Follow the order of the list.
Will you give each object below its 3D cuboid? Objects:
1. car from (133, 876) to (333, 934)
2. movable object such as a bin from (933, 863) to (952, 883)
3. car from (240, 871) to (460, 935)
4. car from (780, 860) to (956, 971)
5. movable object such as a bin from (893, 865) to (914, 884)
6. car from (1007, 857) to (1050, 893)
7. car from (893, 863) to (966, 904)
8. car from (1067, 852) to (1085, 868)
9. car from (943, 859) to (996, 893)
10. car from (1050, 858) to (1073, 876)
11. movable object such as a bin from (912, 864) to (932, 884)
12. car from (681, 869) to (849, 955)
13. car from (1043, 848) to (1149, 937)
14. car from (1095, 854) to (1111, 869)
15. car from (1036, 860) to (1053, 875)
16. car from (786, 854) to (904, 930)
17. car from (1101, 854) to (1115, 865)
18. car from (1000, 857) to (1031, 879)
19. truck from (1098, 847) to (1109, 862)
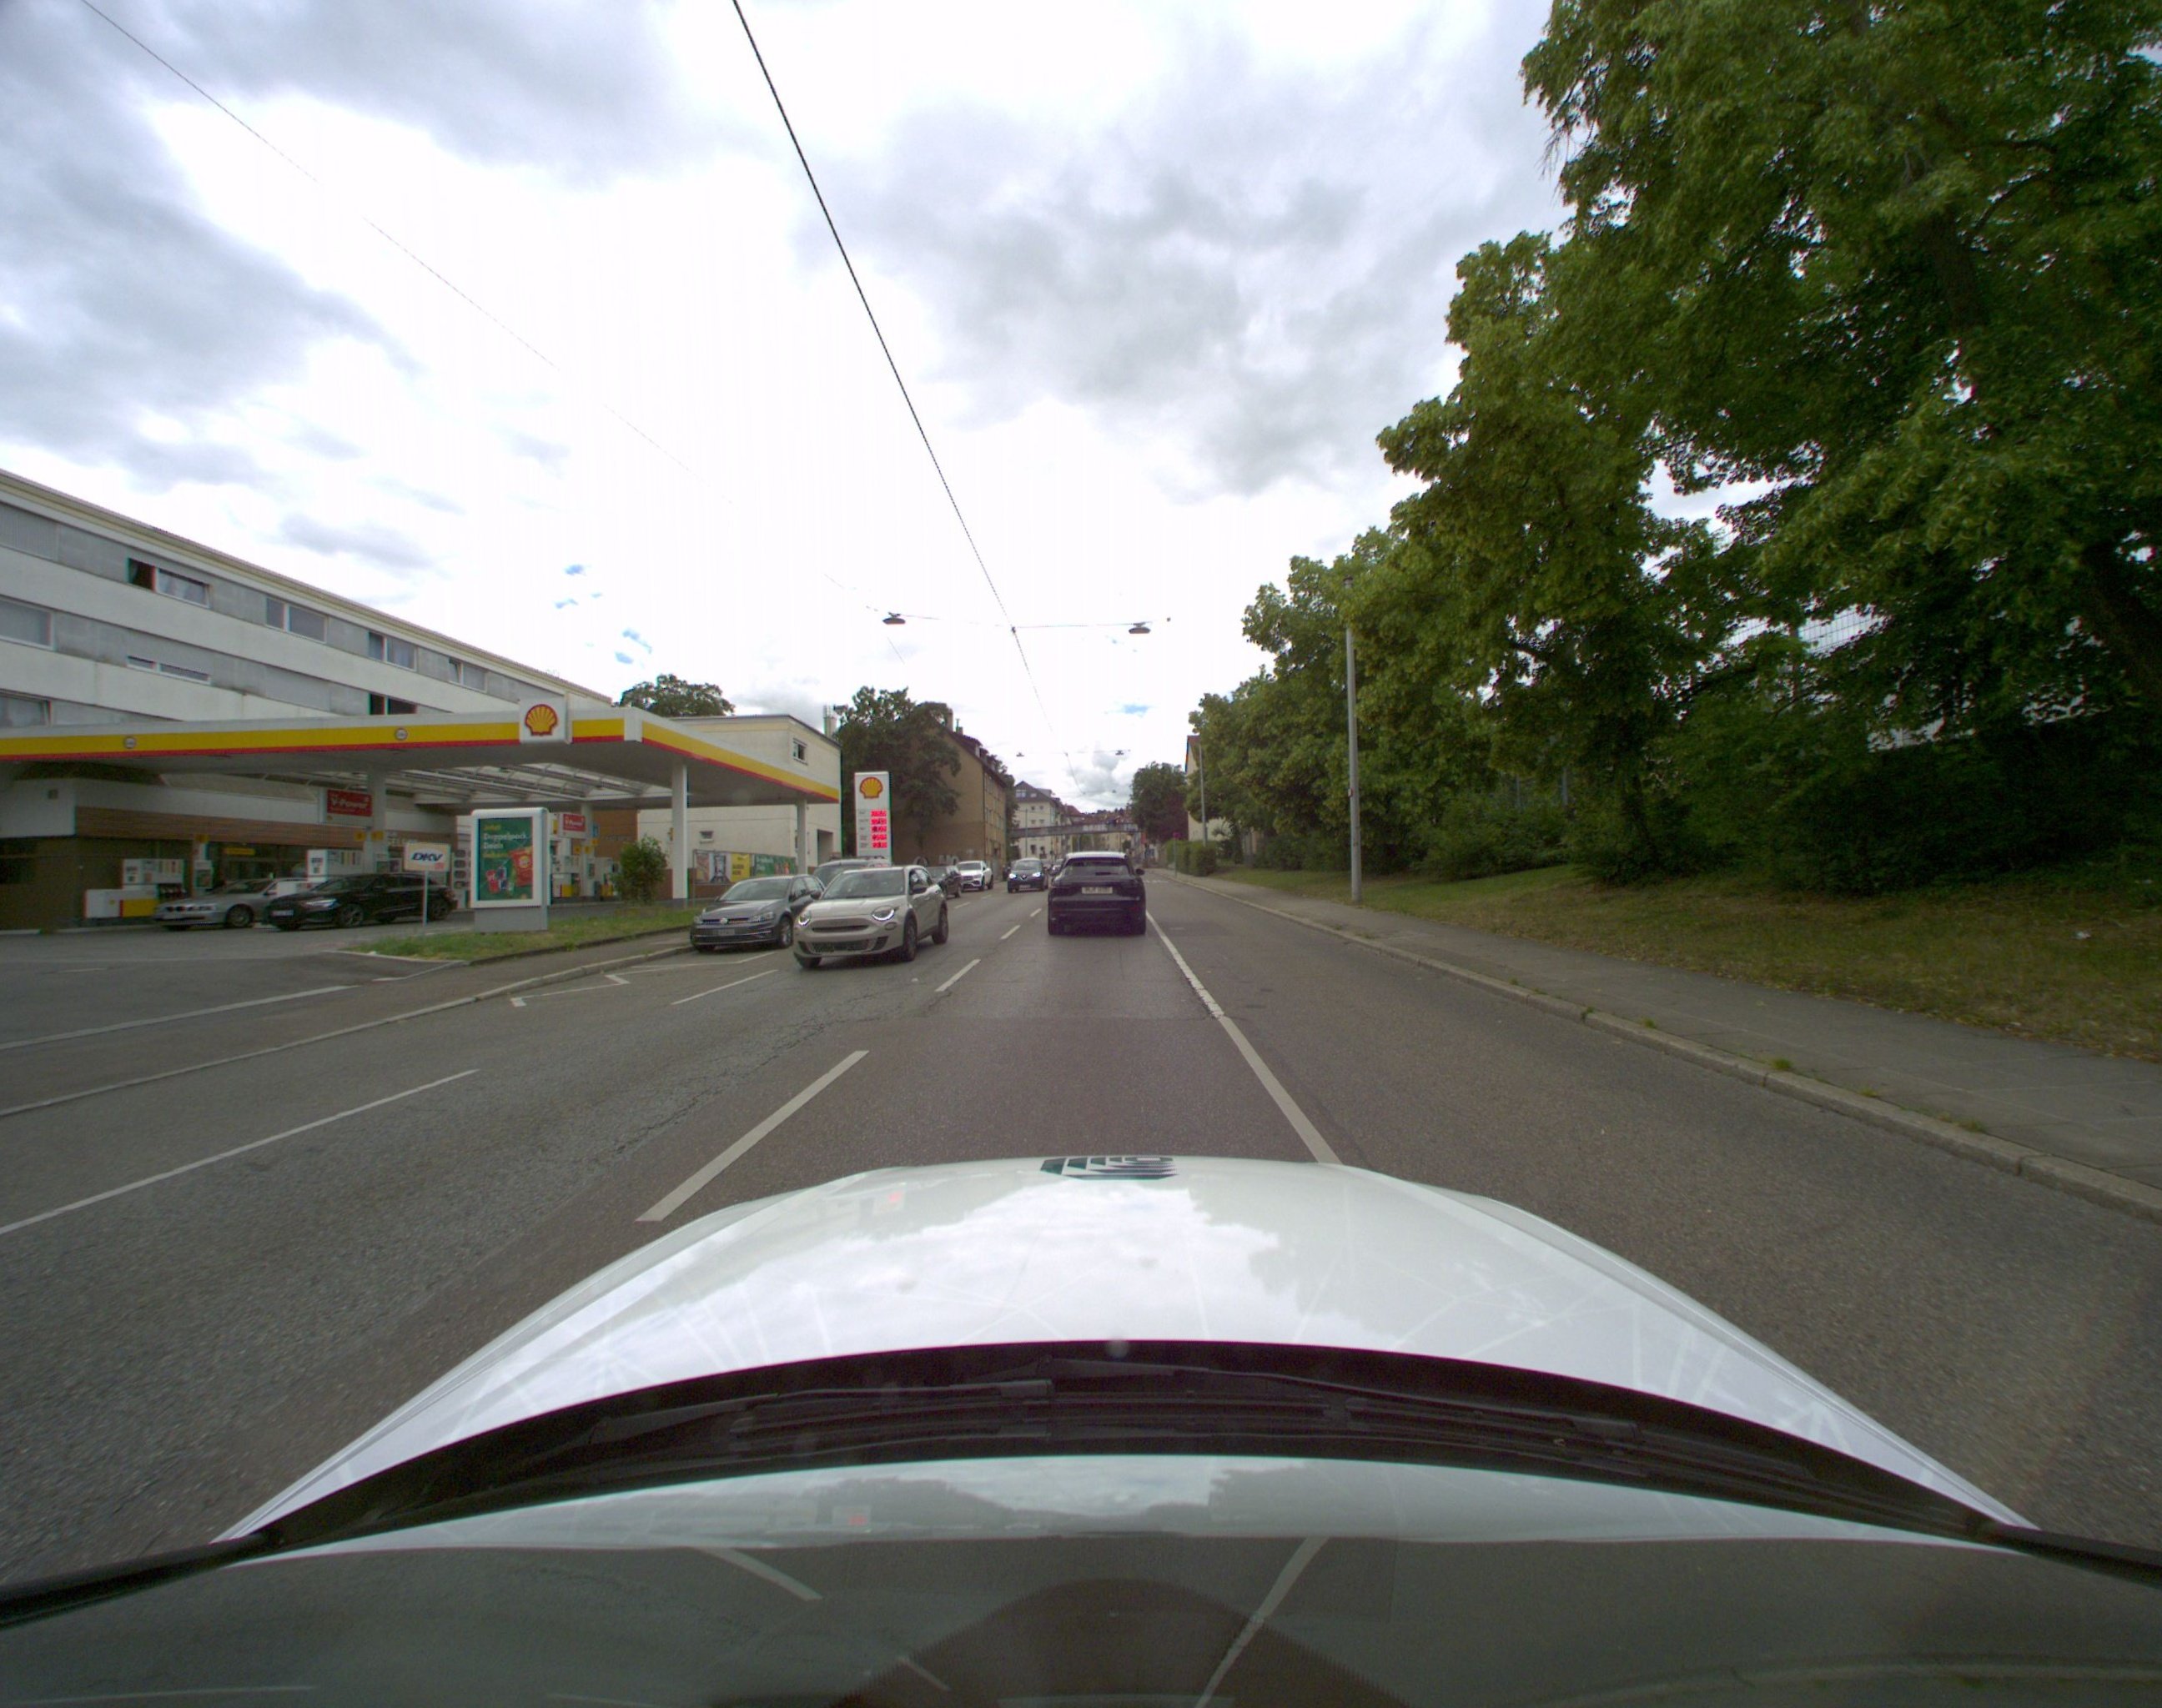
[{"bbox_3d":[-23.945,1.385,23.207,1.791,1.420,3.638,-1,0,2],"label":"car"},{"bbox_3d":[-10.685,1.457,62.951,1.278,1.428,1.278,-1,0,-3],"label":"movable object such as a bin"},{"bbox_3d":[-19.202,1.214,21.721,1.791,1.420,4.418,-1,0,2],"label":"car"},{"bbox_3d":[-3.453,0.924,14.017,1.791,1.525,4.002,-3,0,2],"label":"car"},{"bbox_3d":[-13.768,1.555,63.207,1.388,1.428,0.913,-1,0,-1],"label":"movable object such as a bin"},{"bbox_3d":[-2.490,0.949,39.175,1.677,1.555,3.719,-3,0,1],"label":"car"},{"bbox_3d":[-6.261,1.176,34.164,1.790,1.431,4.748,-3,0,4],"label":"car"},{"bbox_3d":[-0.607,0.757,102.869,1.924,1.901,4.591,-2,0,1],"label":"car"},{"bbox_3d":[-5.854,1.121,43.220,1.908,1.577,4.702,-3,0,2],"label":"car"},{"bbox_3d":[-1.709,1.133,72.970,1.771,1.466,4.501,-3,0,2],"label":"car"},{"bbox_3d":[-12.348,1.547,63.229,1.388,1.428,0.913,-1,0,-1],"label":"movable object such as a bin"},{"bbox_3d":[-6.563,1.129,17.464,1.784,1.450,4.220,-3,0,2],"label":"car"},{"bbox_3d":[0.363,0.722,17.522,1.986,1.662,4.002,-1,0,2],"label":"car"},{"bbox_3d":[2.377,0.789,87.363,1.734,1.400,4.002,-1,0,2],"label":"car"},{"bbox_3d":[-4.266,1.559,95.562,1.740,1.568,3.907,-3,-1,0],"label":"car"},{"bbox_3d":[-6.458,0.964,22.899,1.845,1.835,4.701,-3,0,0],"label":"car"},{"bbox_3d":[3.657,0.746,109.945,1.734,1.400,4.002,-1,0,2],"label":"car"},{"bbox_3d":[-5.210,1.111,65.157,1.775,1.609,4.268,-4,0,3],"label":"car"},{"bbox_3d":[5.418,0.110,196.207,2.258,3.424,9.881,-2,-1,2],"label":"truck"}]
